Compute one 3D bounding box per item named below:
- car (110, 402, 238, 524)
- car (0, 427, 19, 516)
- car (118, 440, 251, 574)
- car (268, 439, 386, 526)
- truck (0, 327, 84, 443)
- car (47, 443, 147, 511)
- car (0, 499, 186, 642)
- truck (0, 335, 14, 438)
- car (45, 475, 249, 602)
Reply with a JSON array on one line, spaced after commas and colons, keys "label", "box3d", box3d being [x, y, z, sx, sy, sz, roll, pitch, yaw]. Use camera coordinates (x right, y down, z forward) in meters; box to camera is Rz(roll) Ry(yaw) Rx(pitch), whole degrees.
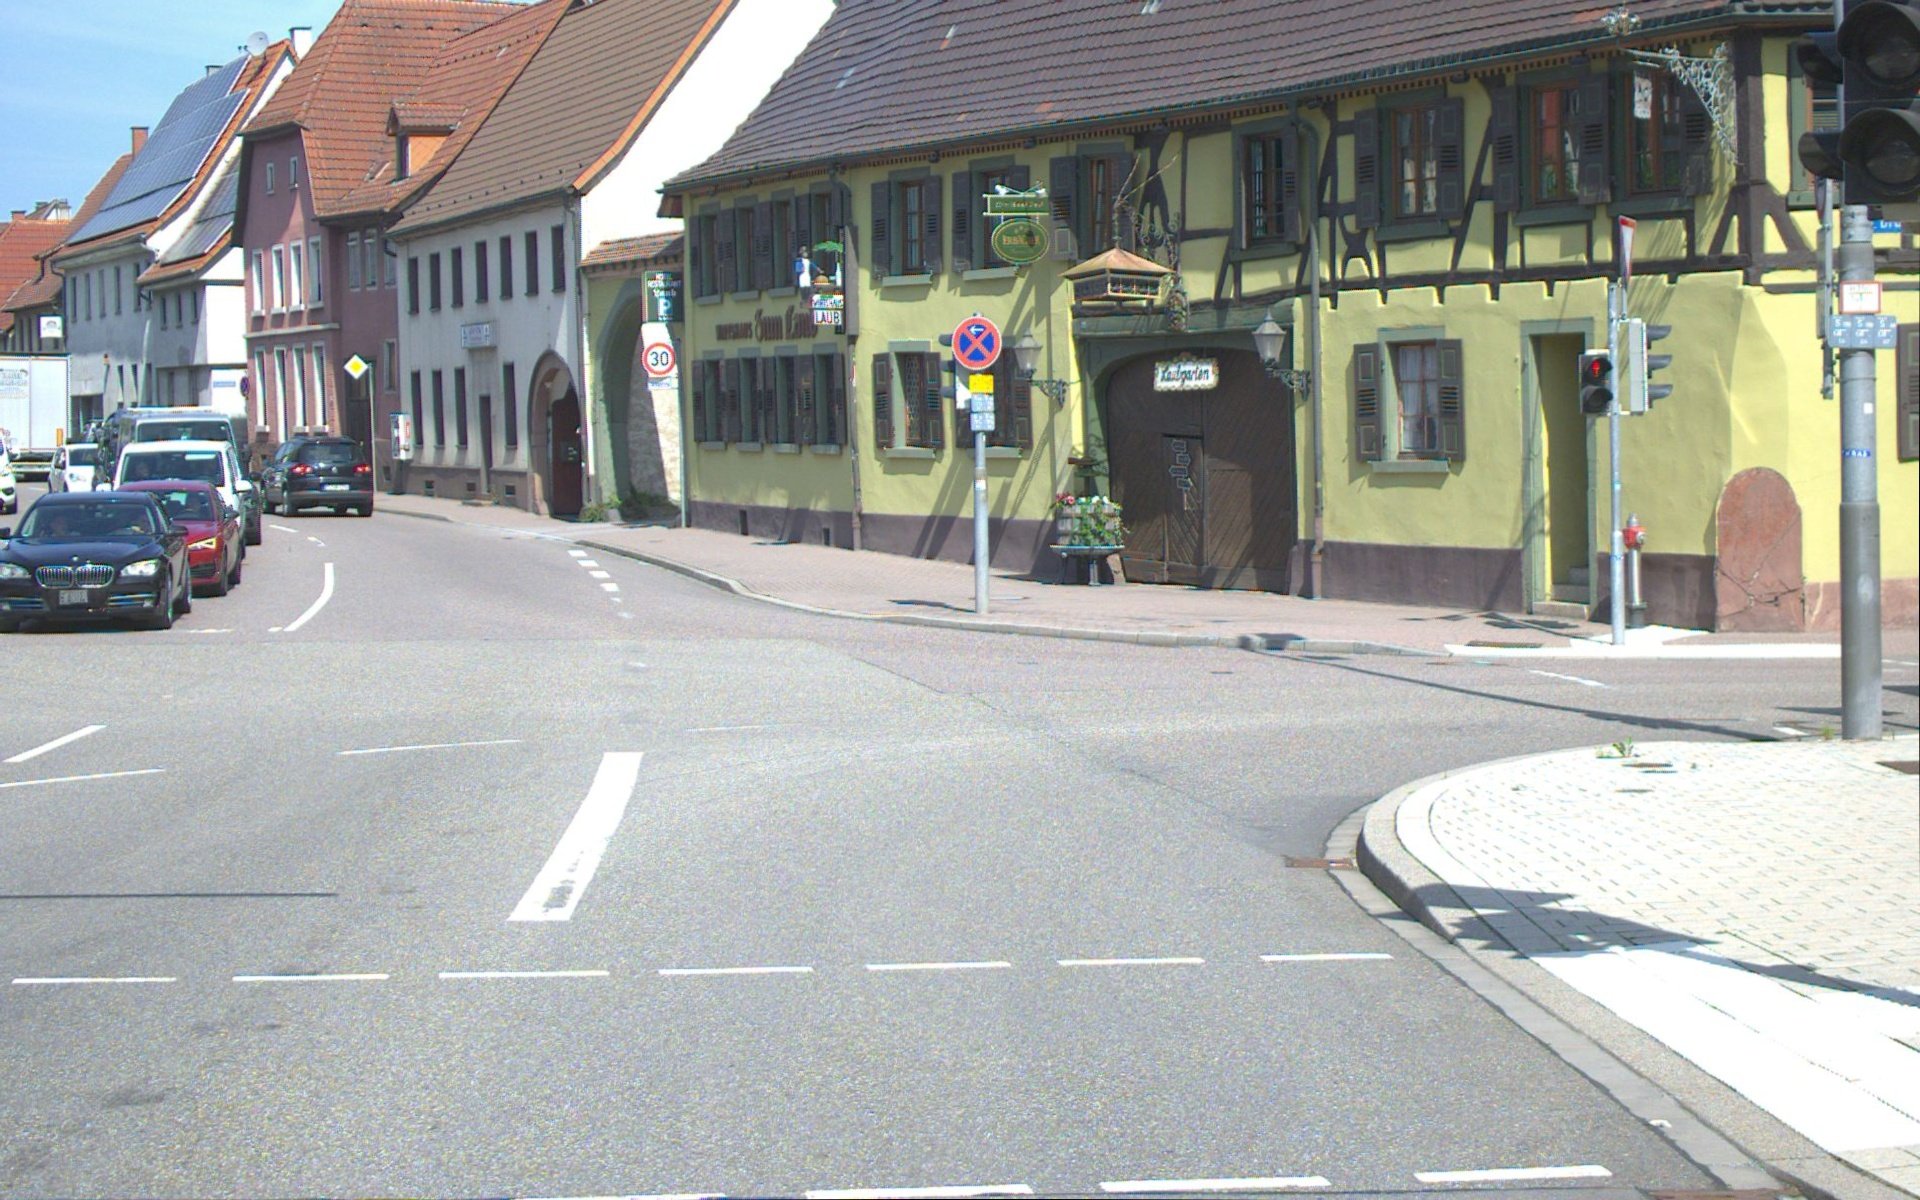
[{"label": "car", "box3d": [-15.213, -2.657, 66.422, 1.757, 2.238, 4.554, 1, 2, -21]}, {"label": "car", "box3d": [-22.838, -2.930, 78.711, 2.136, 1.960, 5.280, -2, 3, -18]}, {"label": "car", "box3d": [-11.863, -1.479, 52.823, 1.820, 1.899, 4.966, -1, 3, -11]}, {"label": "car", "box3d": [-13.335, -2.486, 72.268, 1.820, 1.732, 4.007, -2, 3, -18]}, {"label": "truck", "box3d": [-31.147, -6.917, 111.291, 3.223, 3.537, 9.232, 0, 2, -28]}, {"label": "car", "box3d": [-20.383, -2.927, 81.104, 1.785, 1.521, 4.007, -3, 3, -21]}, {"label": "car", "box3d": [-9.752, -0.374, 38.498, 1.820, 1.429, 4.250, -1, 3, -9]}, {"label": "truck", "box3d": [-35.989, -7.407, 120.071, 3.159, 3.448, 10.714, 1, 2, -29]}, {"label": "car", "box3d": [-10.695, -0.865, 45.546, 2.158, 1.510, 4.949, 0, 3, -8]}]
